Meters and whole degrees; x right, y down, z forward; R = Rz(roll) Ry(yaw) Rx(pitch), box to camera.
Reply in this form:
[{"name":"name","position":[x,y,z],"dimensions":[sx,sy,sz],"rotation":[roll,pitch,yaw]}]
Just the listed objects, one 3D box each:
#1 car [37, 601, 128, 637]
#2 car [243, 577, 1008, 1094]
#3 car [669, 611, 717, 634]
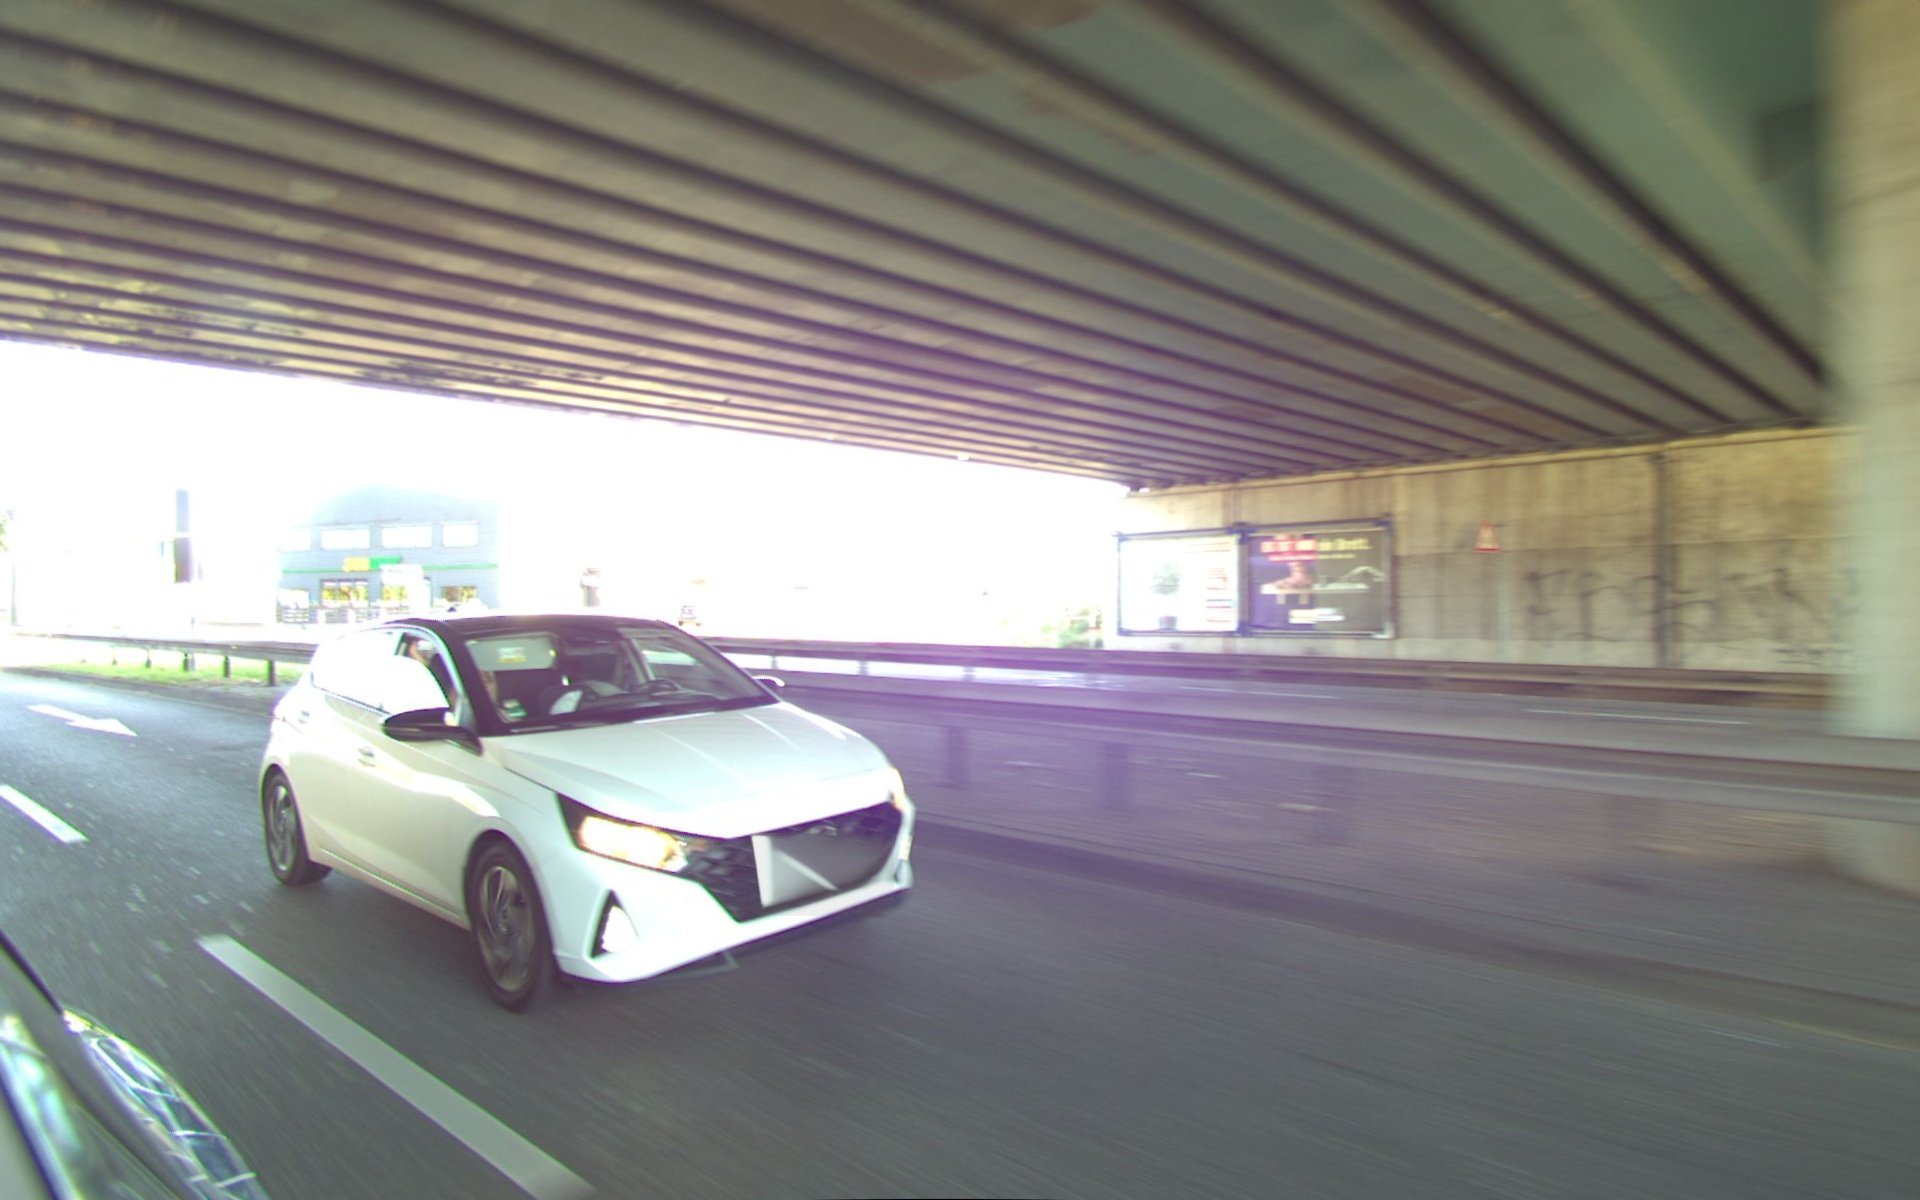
[{"name":"car","position":[-38.764,0.855,44.708],"dimensions":[3.802,1.531,1.611],"rotation":[-1,-1,24]},{"name":"car","position":[-1.867,0.710,4.890],"dimensions":[3.989,1.491,1.715],"rotation":[-1,-1,41]},{"name":"car","position":[-16.555,1.425,63.013],"dimensions":[1.805,1.291,4.181],"rotation":[1,-2,1]}]
